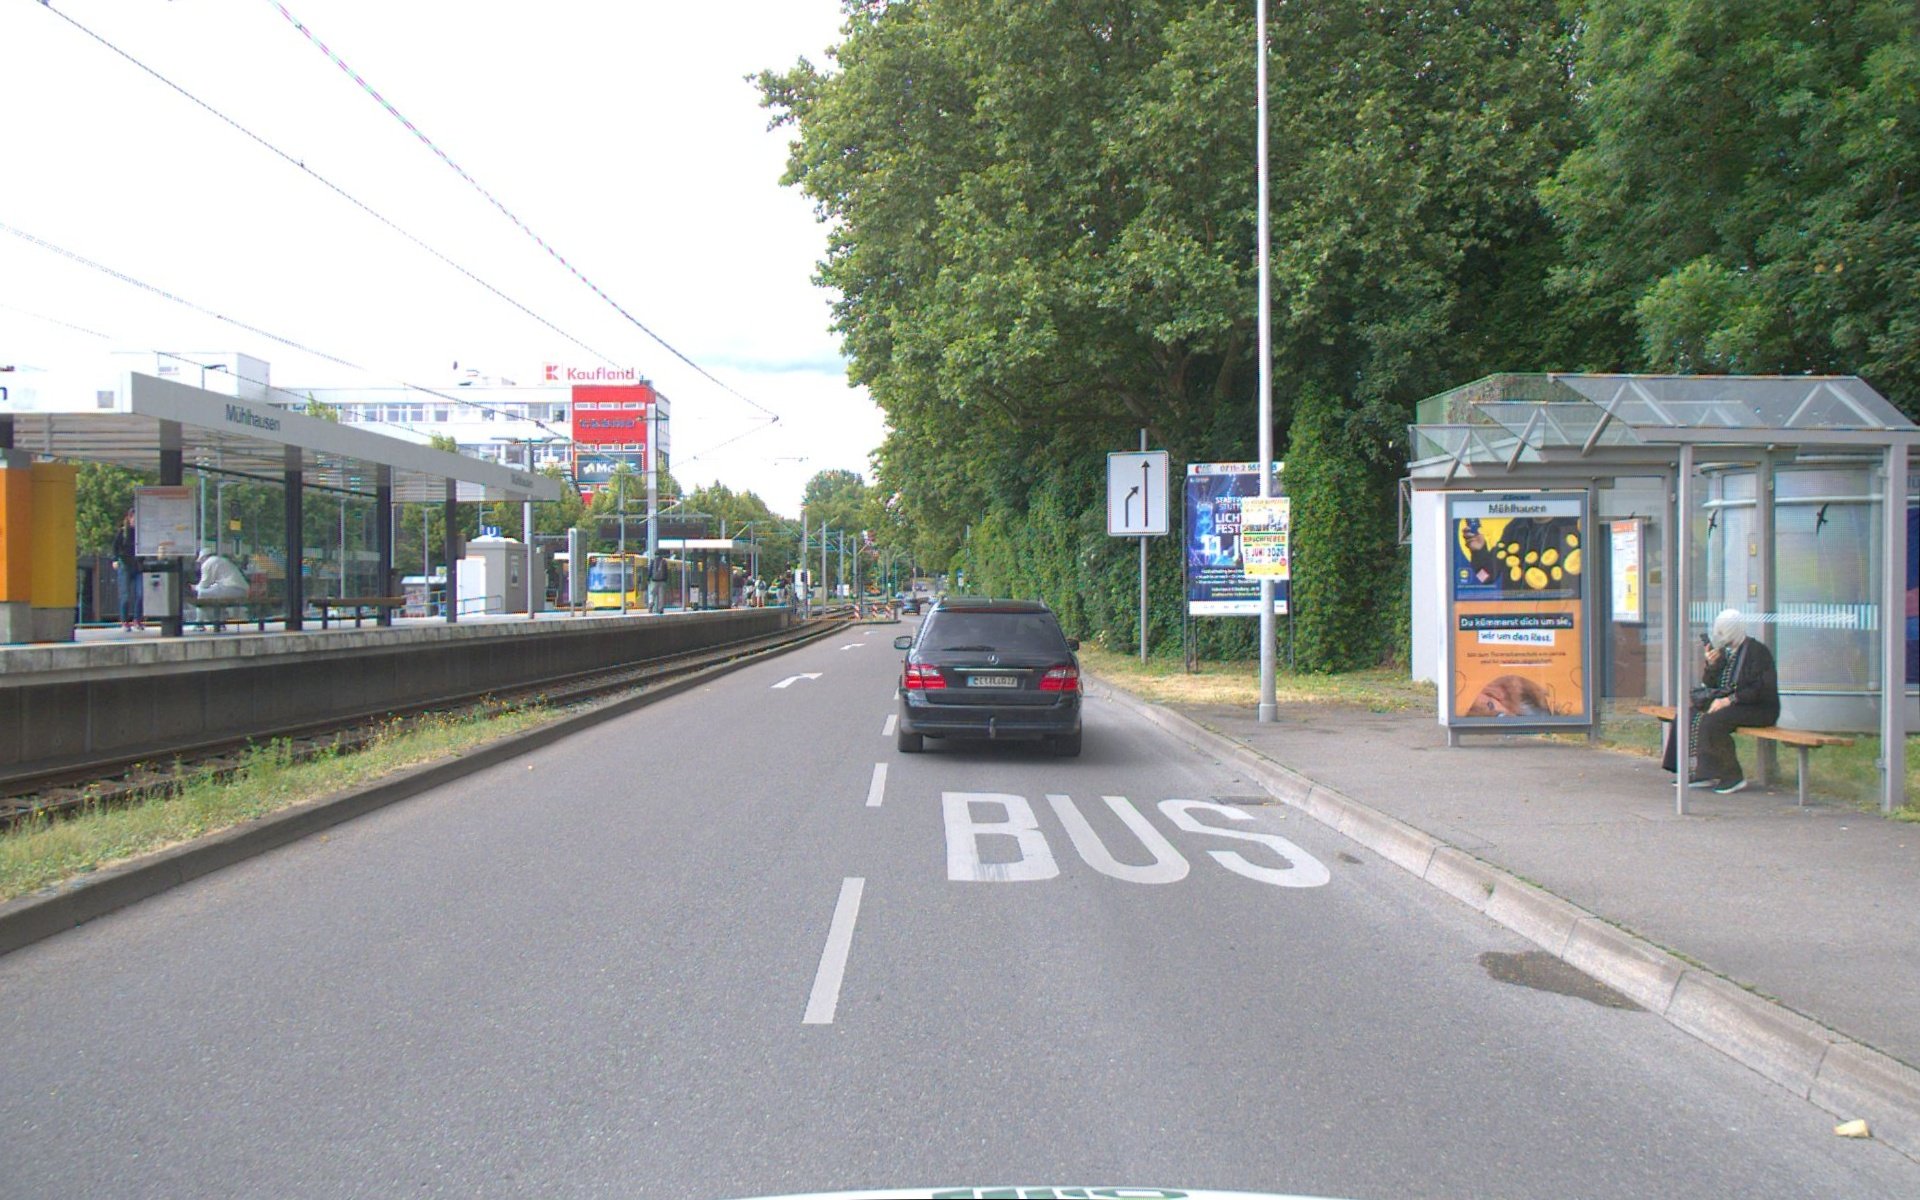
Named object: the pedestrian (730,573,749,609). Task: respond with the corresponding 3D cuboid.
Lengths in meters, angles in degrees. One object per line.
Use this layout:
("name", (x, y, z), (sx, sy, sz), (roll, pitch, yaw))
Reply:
("pedestrian", (-10.394, -0.423, 78.017), (0.755, 1.707, 0.790), (-2, 0, -1))

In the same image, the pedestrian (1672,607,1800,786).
("pedestrian", (5.304, 0.644, 11.330), (0.589, 1.178, 0.546), (-2, 0, -1))

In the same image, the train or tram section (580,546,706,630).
("train or tram section", (-16.429, -0.593, 87.592), (2.699, 3.950, 18.634), (-1, 0, 1))

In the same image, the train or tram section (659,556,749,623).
("train or tram section", (-16.198, -0.670, 106.187), (2.700, 3.895, 18.632), (0, 0, 0))

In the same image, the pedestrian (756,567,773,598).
("pedestrian", (-9.458, -0.849, 80.037), (0.510, 1.508, 0.579), (-2, -1, 37))

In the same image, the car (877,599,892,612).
("car", (-9.752, 0.695, 213.805), (1.788, 1.556, 3.927), (1, 0, 0))

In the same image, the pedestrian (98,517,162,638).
("pedestrian", (-11.538, -0.310, 22.999), (0.558, 1.649, 0.586), (-2, -1, -1))

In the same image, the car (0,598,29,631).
("car", (-45.795, 0.716, 77.798), (1.741, 1.566, 3.999), (-2, 0, -1))

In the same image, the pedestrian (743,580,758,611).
("pedestrian", (-10.263, -0.227, 81.079), (0.473, 1.509, 0.534), (-1, -1, -42))

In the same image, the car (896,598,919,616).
("car", (-4.668, 0.581, 147.654), (1.788, 1.557, 4.416), (0, 0, 0))

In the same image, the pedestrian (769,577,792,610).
("pedestrian", (-9.395, -0.328, 86.489), (0.732, 1.707, 0.871), (-2, -1, 42))

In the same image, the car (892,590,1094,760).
("car", (0.279, 0.655, 16.948), (1.796, 1.504, 4.415), (0, 0, -1))

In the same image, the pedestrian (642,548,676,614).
("pedestrian", (-8.265, -0.507, 45.381), (0.733, 1.774, 0.936), (-2, 0, -1))

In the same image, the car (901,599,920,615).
("car", (-5.076, 0.717, 171.375), (1.788, 1.556, 3.927), (1, 0, 0))

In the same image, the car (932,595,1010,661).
("car", (0.219, 0.658, 41.576), (1.788, 1.556, 4.414), (1, 0, -2))

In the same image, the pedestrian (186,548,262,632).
("pedestrian", (-10.757, -0.146, 24.183), (0.753, 1.210, 0.728), (-1, 0, 3))
